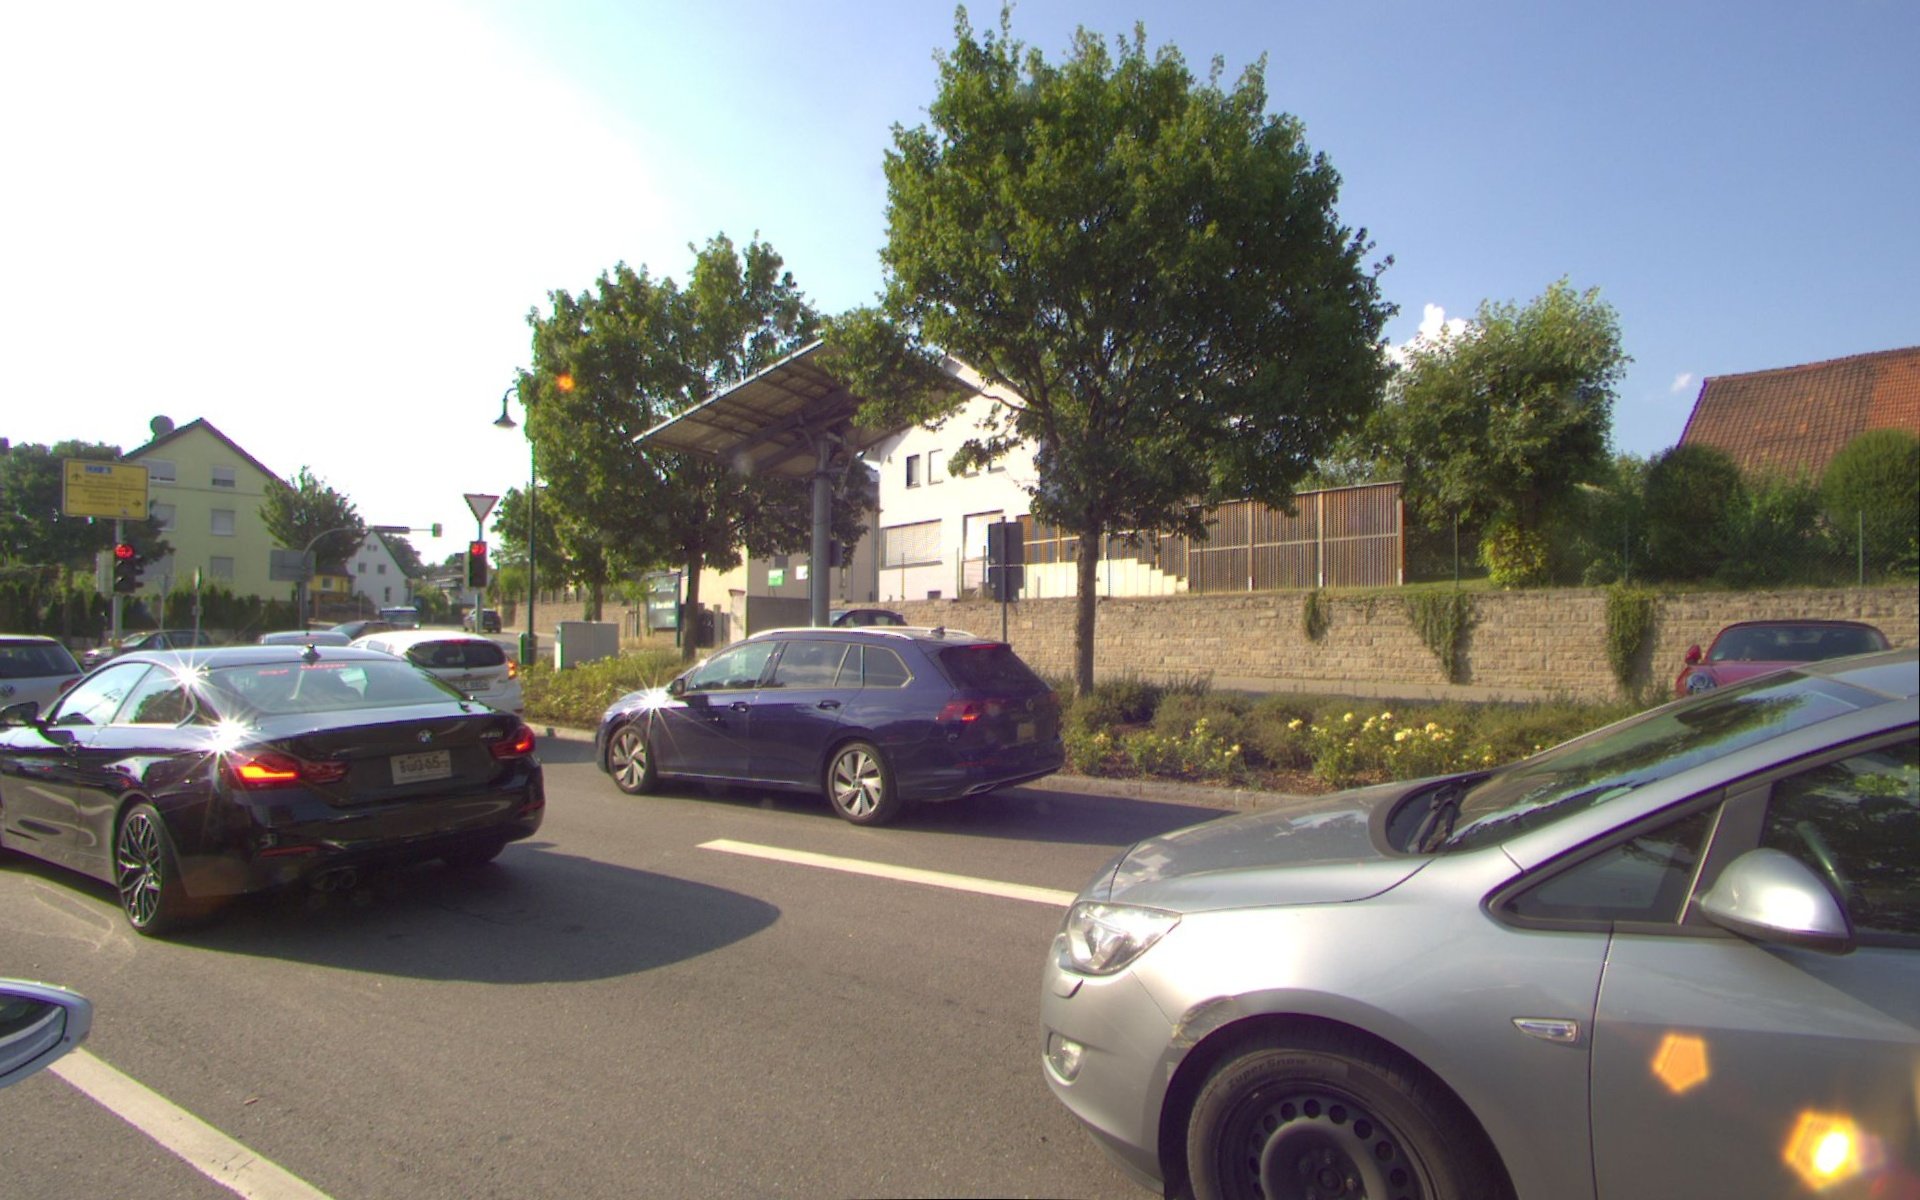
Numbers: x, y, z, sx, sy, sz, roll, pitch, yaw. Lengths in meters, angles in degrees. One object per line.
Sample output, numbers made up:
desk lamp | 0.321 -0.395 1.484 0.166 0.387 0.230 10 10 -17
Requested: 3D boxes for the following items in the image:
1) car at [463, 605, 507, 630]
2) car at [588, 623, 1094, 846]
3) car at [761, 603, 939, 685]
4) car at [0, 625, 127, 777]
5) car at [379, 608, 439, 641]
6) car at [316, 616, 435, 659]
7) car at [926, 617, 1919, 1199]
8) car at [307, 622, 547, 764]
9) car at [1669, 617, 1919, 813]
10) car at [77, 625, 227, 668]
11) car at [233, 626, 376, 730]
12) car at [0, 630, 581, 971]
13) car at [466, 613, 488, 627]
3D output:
car | -33.232 1.230 70.072 1.948 1.701 4.183 0 -1 -38
car | -1.148 0.949 8.670 4.259 1.472 1.757 -1 0 34
car | -2.368 0.964 22.293 1.758 1.653 3.800 -1 -2 40
car | -10.797 1.012 10.774 3.848 1.444 1.758 -1 0 33
car | -30.323 1.361 55.276 1.815 1.761 4.778 1 -2 -15
car | -24.254 1.557 41.750 1.813 1.662 4.430 0 -2 11
car | 2.182 0.782 2.156 4.256 1.472 1.758 -1 0 31
car | -6.909 1.082 12.883 3.278 1.562 1.611 -1 0 40
car | 8.234 0.953 9.739 1.758 1.510 4.120 -1 -2 41
car | -30.063 1.721 37.360 1.821 1.508 3.983 -1 -2 30
car | -11.744 1.273 17.809 1.643 1.562 4.362 0 0 -40
car | -4.427 0.914 6.181 4.220 1.416 1.758 -1 0 33
car | -60.274 2.544 125.047 1.937 1.701 4.207 0 -1 -18
